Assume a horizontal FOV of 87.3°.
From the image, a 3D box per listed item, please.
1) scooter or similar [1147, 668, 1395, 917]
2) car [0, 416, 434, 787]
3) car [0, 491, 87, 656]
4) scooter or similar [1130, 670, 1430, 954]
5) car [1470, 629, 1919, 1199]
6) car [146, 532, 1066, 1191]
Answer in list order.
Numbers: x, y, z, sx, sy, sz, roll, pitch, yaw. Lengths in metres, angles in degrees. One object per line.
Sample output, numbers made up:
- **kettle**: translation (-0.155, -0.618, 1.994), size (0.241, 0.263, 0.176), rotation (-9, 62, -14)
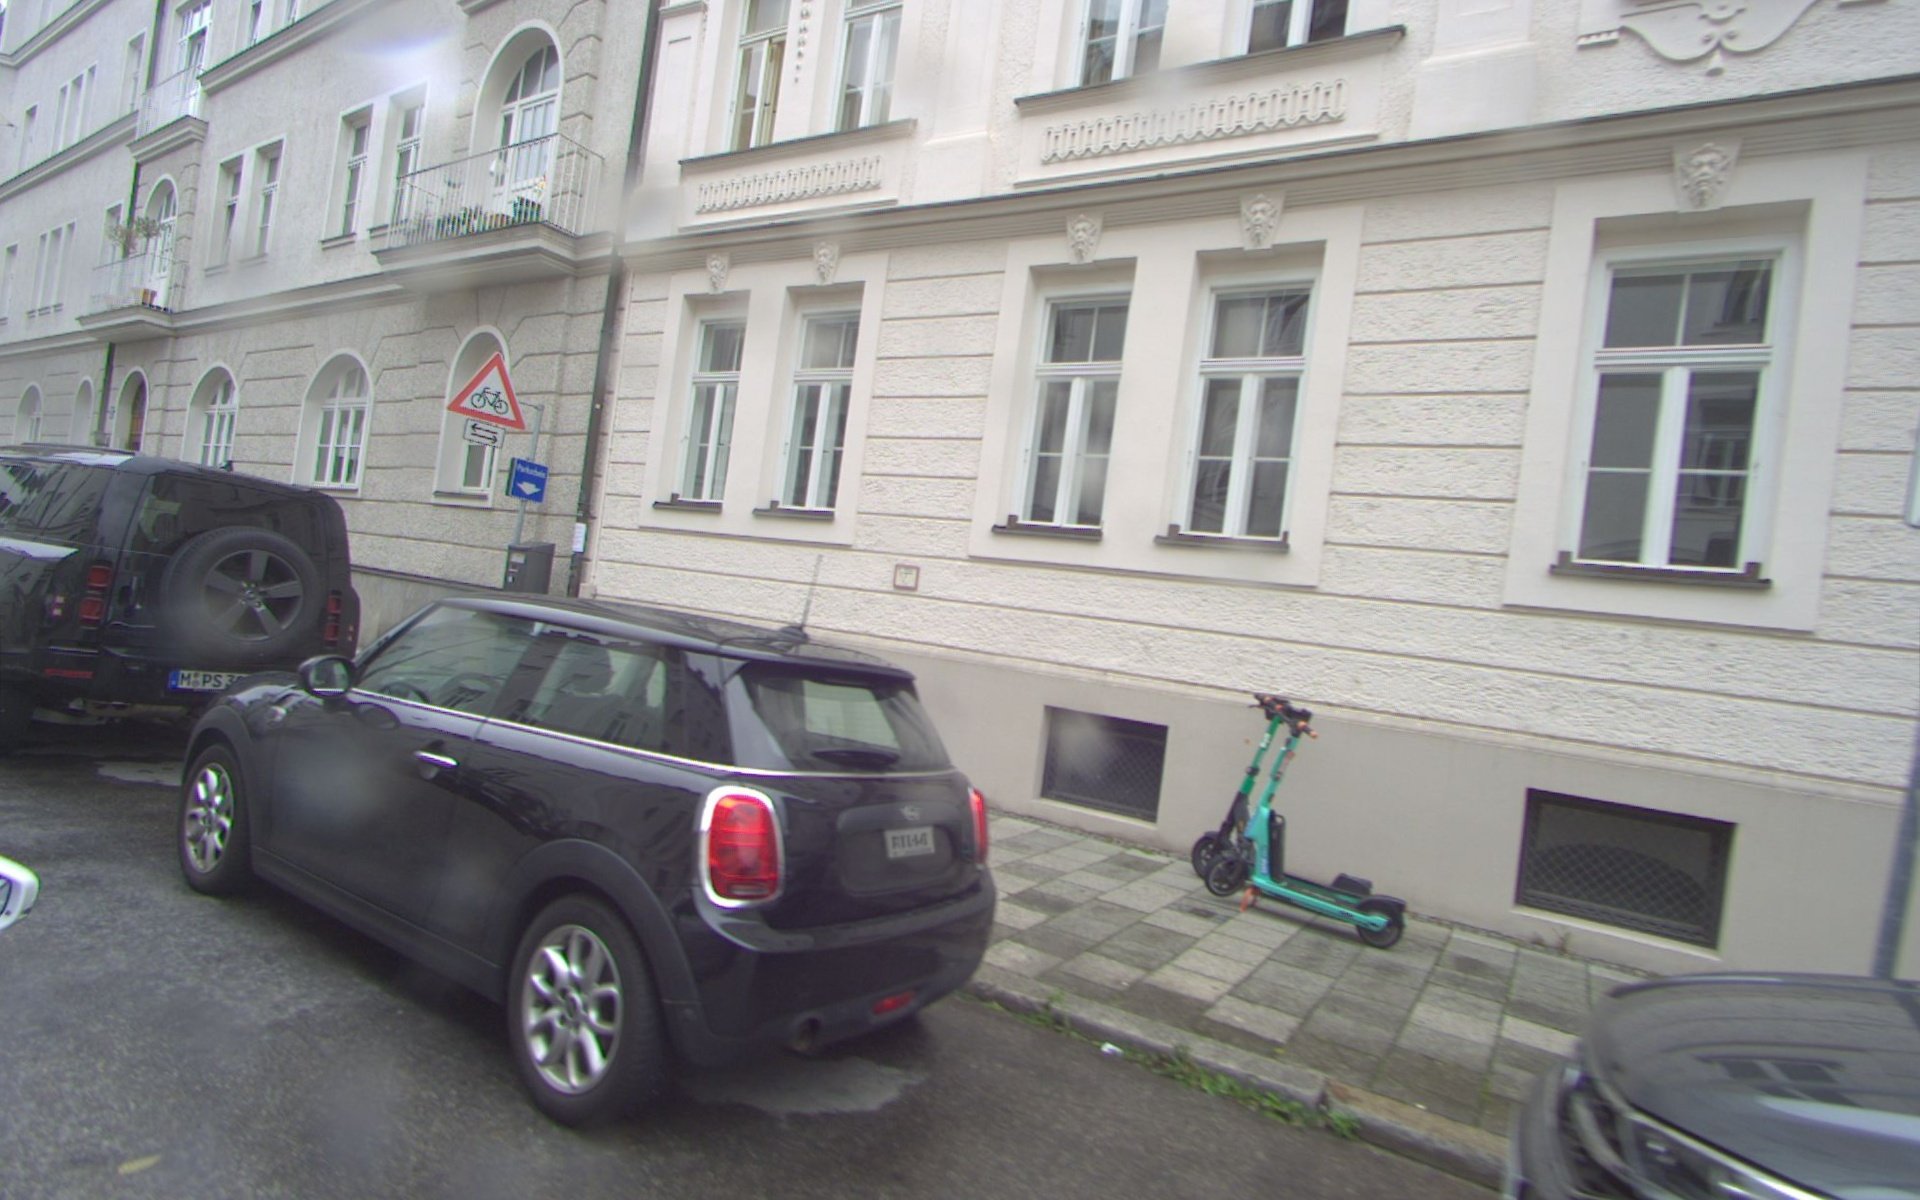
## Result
- **scooter or similar**: translation (1.999, 1.185, 6.566), size (1.332, 1.304, 0.505), rotation (7, 2, 41)
- **car**: translation (-6.115, -0.108, 7.166), size (4.636, 1.905, 1.916), rotation (7, -3, 32)
- **car**: translation (-10.838, -0.476, 10.404), size (3.577, 1.543, 1.658), rotation (7, -1, 33)
- **scooter or similar**: translation (1.854, 1.167, 5.967), size (1.482, 1.304, 0.539), rotation (7, 2, 40)
- **car**: translation (2.881, 1.156, 1.251), size (3.932, 1.605, 1.712), rotation (7, -2, 30)
- **car**: translation (-1.586, 0.672, 4.146), size (3.524, 1.411, 1.667), rotation (7, -3, 34)
